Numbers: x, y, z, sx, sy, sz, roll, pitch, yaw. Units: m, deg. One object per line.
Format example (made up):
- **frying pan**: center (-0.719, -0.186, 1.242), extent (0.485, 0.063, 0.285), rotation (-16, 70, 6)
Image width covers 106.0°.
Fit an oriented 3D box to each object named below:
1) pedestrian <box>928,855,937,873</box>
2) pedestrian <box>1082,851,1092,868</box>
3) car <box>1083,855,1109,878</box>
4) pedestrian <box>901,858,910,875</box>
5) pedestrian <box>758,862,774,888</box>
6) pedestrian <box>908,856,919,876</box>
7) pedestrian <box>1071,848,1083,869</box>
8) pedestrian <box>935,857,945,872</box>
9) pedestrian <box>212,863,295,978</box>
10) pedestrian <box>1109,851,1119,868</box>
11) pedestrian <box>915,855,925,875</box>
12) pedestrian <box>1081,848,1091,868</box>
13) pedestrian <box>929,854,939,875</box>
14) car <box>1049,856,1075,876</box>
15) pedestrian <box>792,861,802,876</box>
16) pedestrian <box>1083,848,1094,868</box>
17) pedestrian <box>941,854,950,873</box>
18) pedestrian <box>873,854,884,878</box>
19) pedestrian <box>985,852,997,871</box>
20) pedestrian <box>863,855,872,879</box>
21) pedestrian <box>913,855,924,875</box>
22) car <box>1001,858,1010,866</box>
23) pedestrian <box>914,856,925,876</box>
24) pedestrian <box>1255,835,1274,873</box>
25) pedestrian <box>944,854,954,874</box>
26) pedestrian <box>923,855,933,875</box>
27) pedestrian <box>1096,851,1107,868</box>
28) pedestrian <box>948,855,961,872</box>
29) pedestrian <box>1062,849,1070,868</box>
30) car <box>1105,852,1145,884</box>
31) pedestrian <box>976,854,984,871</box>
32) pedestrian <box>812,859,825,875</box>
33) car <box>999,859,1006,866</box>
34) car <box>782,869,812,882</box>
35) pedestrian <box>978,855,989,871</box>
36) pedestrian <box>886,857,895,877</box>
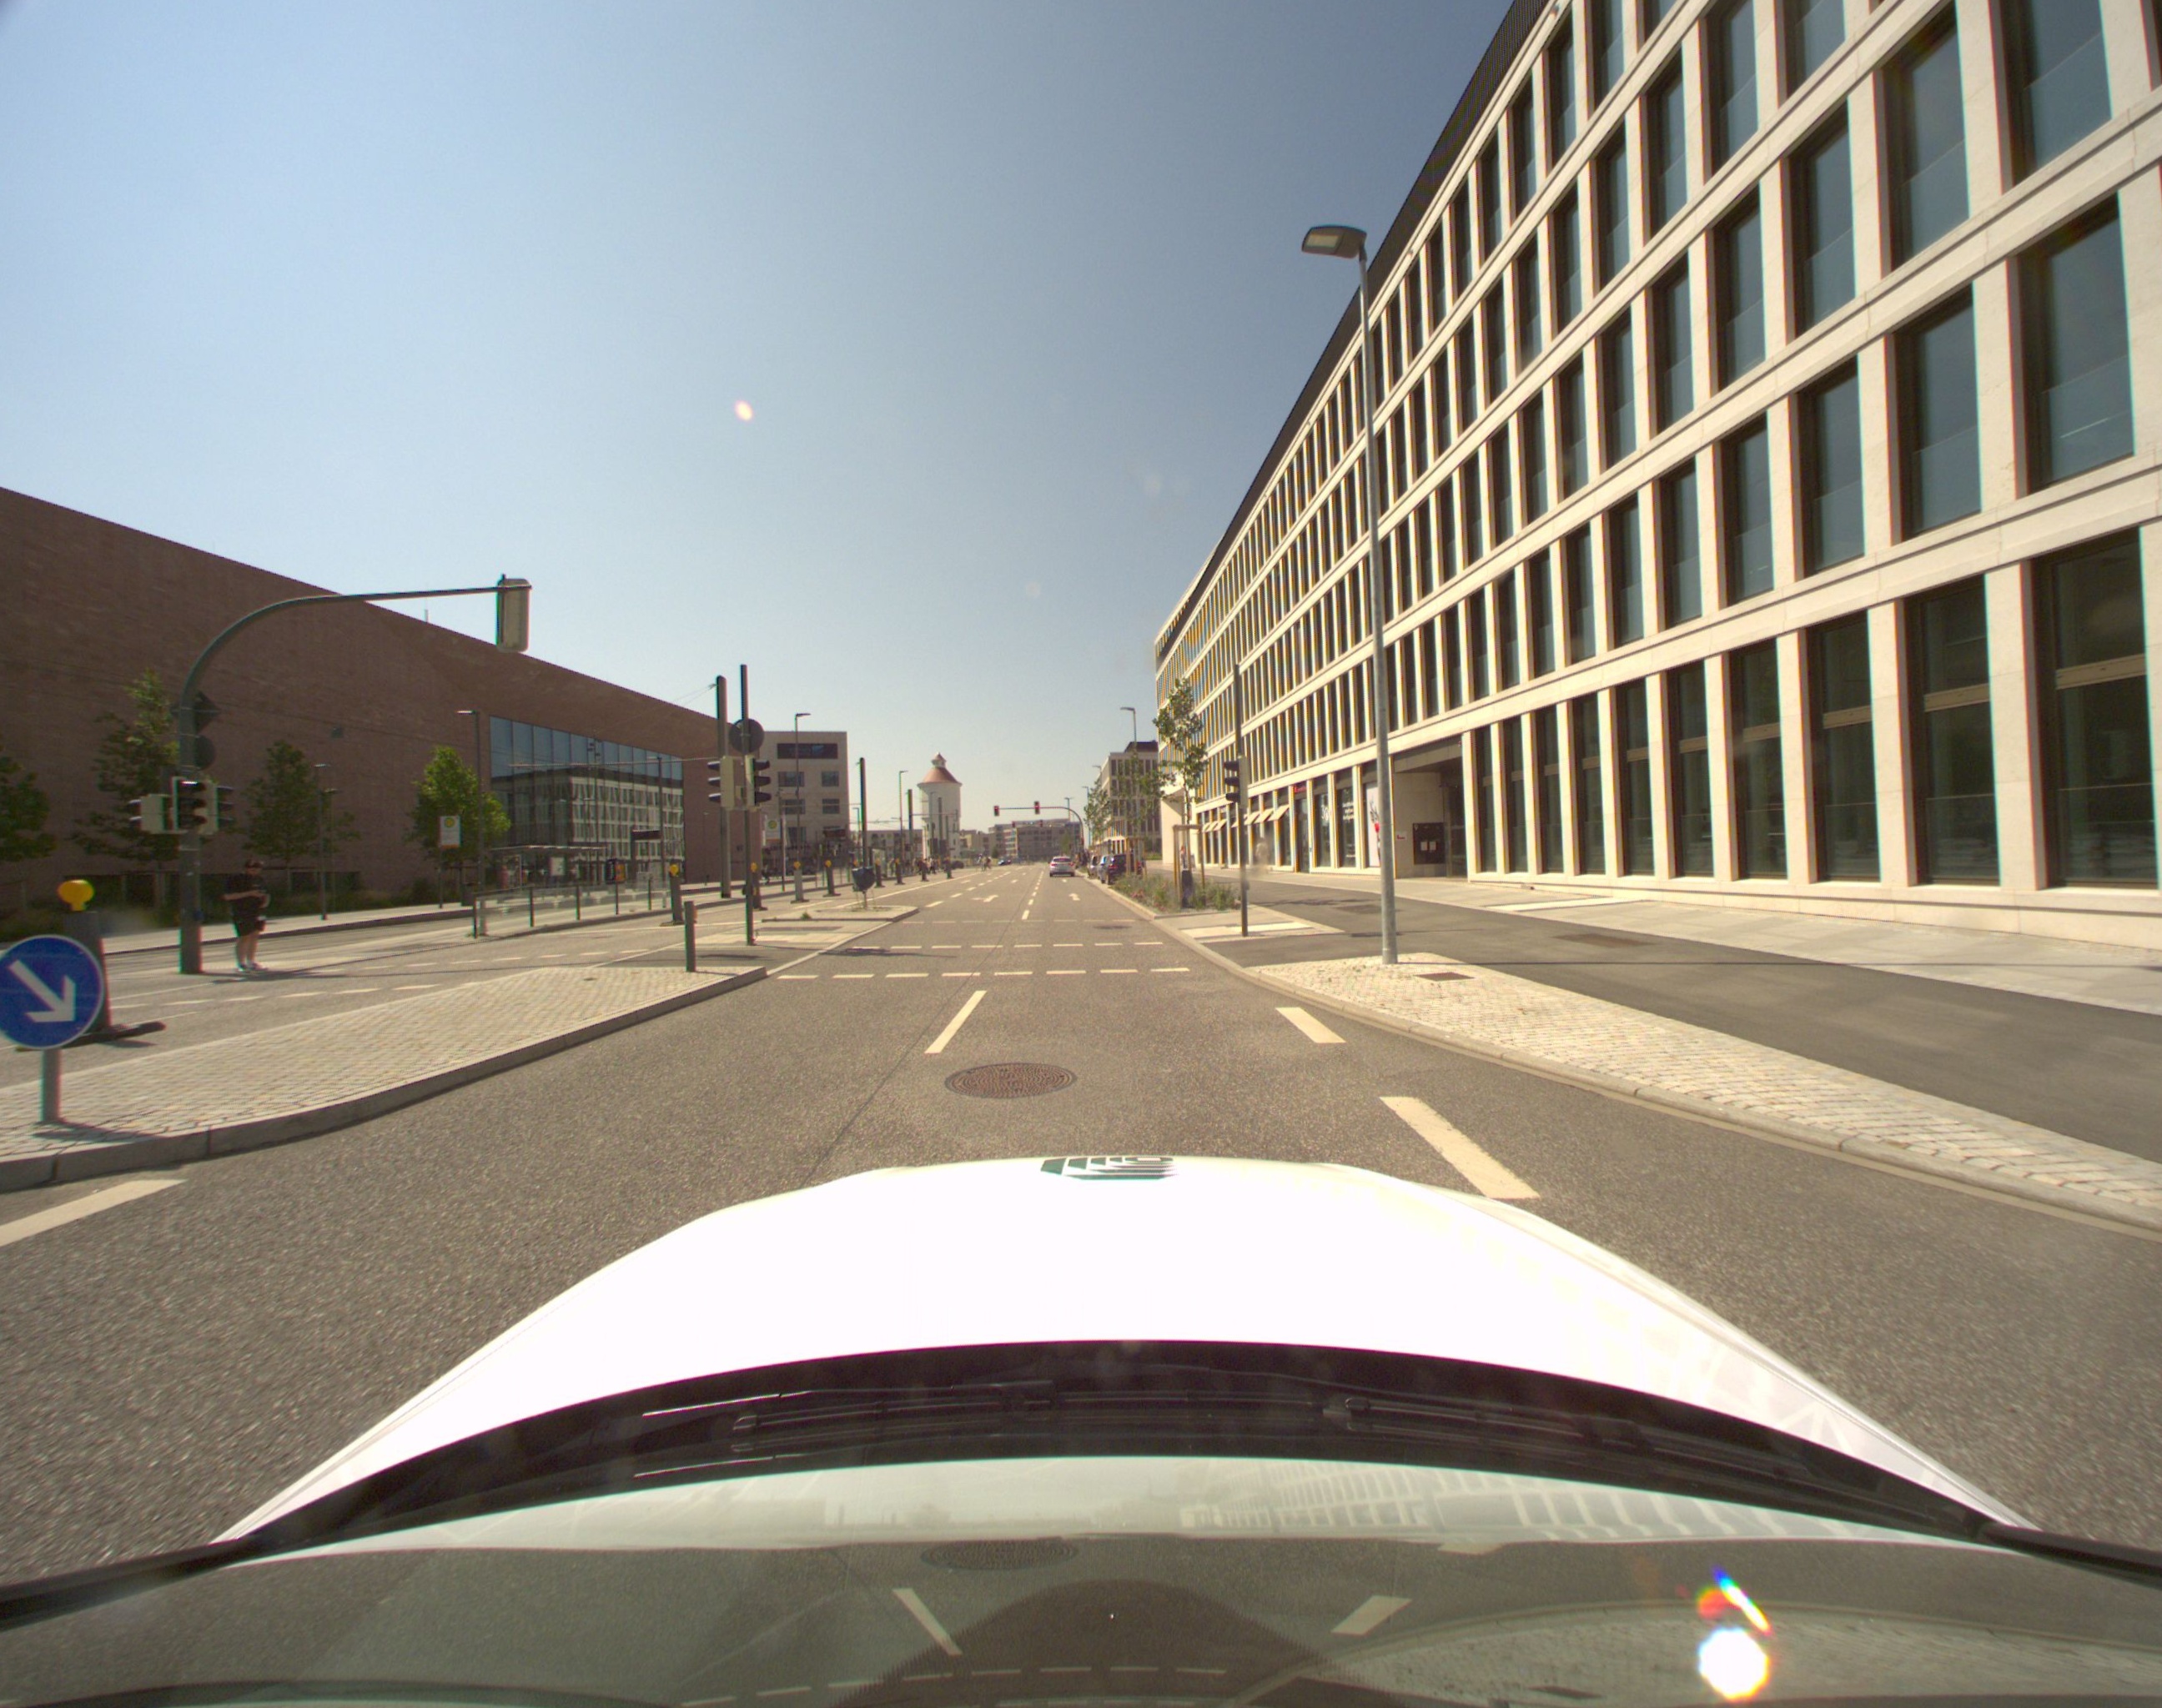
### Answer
- **pedestrian**: center (-15.196, 1.004, 83.414), extent (0.731, 1.890, 0.714), rotation (0, -1, 2)
- **pedestrian**: center (0.616, 0.541, 82.325), extent (0.888, 1.647, 0.793), rotation (-2, 0, -12)
- **car**: center (1.002, 0.867, 55.745), extent (1.552, 1.472, 3.467), rotation (-2, 0, -2)
- **pedestrian**: center (-16.904, 1.188, 78.582), extent (0.630, 1.618, 0.769), rotation (-2, 0, 3)
- **pedestrian**: center (-22.480, 1.496, 58.174), extent (0.809, 1.820, 0.824), rotation (-1, -1, -2)
- **pedestrian**: center (-16.589, 1.164, 80.679), extent (0.884, 1.890, 0.797), rotation (-2, 0, 2)
- **pedestrian**: center (-0.411, 0.436, 77.800), extent (1.012, 1.890, 0.797), rotation (-2, 0, -5)
- **pedestrian**: center (-15.321, 1.154, 88.332), extent (0.884, 1.647, 0.797), rotation (-2, 0, 1)
- **pedestrian**: center (-13.603, 1.068, 13.403), extent (0.650, 1.833, 0.661), rotation (-1, 0, 2)
- **pedestrian**: center (3.263, 0.528, 80.065), extent (0.760, 1.620, 0.694), rotation (-2, 0, 14)
- **pedestrian**: center (-15.331, 1.057, 77.514), extent (0.887, 1.890, 0.690), rotation (-2, 0, -8)
- **pedestrian**: center (0.483, 0.393, 78.943), extent (0.887, 1.890, 0.794), rotation (-2, 0, -7)
- **pedestrian**: center (-13.986, 1.008, 77.482), extent (0.887, 1.890, 0.690), rotation (-2, 0, -8)
- **car**: center (-1.363, 0.899, 58.193), extent (1.766, 1.395, 3.530), rotation (0, -2, 0)
- **pedestrian**: center (-30.122, 1.537, 86.506), extent (0.709, 1.572, 0.890), rotation (-2, 0, -3)
- **pedestrian**: center (0.726, 0.422, 79.837), extent (0.887, 1.890, 0.794), rotation (-2, 0, -7)
- **pedestrian**: center (-13.780, 0.996, 82.821), extent (0.838, 1.890, 0.691), rotation (-2, 0, -2)
- **pedestrian**: center (-15.518, 0.918, 62.487), extent (0.666, 1.820, 0.717), rotation (0, -1, -25)
- **pedestrian**: center (-9.571, 0.789, 86.831), extent (1.024, 2.013, 0.948), rotation (-2, 0, -21)
- **pedestrian**: center (-15.966, 0.971, 60.788), extent (0.552, 1.820, 0.595), rotation (0, -1, -23)
- **pedestrian**: center (-16.279, 1.093, 81.657), extent (0.885, 1.890, 0.796), rotation (-2, 0, -3)
- **car**: center (-14.938, 1.559, 160.278), extent (1.583, 1.530, 3.688), rotation (-1, -1, -3)
- **pedestrian**: center (-15.706, 1.139, 79.212), extent (0.887, 1.890, 0.690), rotation (-2, 0, -8)
- **pedestrian**: center (8.590, 0.013, 38.109), extent (0.626, 1.742, 0.813), rotation (-2, 0, -2)
- **pedestrian**: center (-13.264, 1.004, 81.857), extent (0.764, 1.890, 0.691), rotation (-2, 0, -2)
- **pedestrian**: center (-14.724, 1.068, 78.477), extent (0.887, 1.890, 0.690), rotation (-2, 0, -8)
- **pedestrian**: center (2.022, 0.503, 79.224), extent (0.887, 1.635, 0.690), rotation (-2, 0, -8)
- **pedestrian**: center (-13.636, 1.048, 87.818), extent (1.176, 1.820, 1.069), rotation (-2, 0, 1)
- **pedestrian**: center (-1.450, 0.439, 78.908), extent (0.727, 1.890, 0.821), rotation (-2, 0, 4)
- **car**: center (2.132, 0.674, 40.352), extent (1.731, 1.474, 3.979), rotation (-1, -1, 0)
- **pedestrian**: center (-10.330, 0.896, 83.339), extent (0.764, 1.734, 0.691), rotation (-2, 0, -2)
- **pedestrian**: center (-30.662, 1.536, 95.116), extent (0.881, 1.890, 0.988), rotation (-2, 0, 18)
- **car**: center (-18.207, 2.059, 189.038), extent (1.584, 1.530, 3.251), rotation (-1, -1, -5)
- **car**: center (-41.898, 3.146, 120.245), extent (3.947, 1.816, 1.789), rotation (-1, -1, -15)
- **pedestrian**: center (-10.358, 0.974, 86.401), extent (0.897, 1.674, 1.006), rotation (-2, 0, -21)
- **pedestrian**: center (-18.241, 1.244, 77.970), extent (0.635, 1.890, 0.796), rotation (-2, 0, -1)
